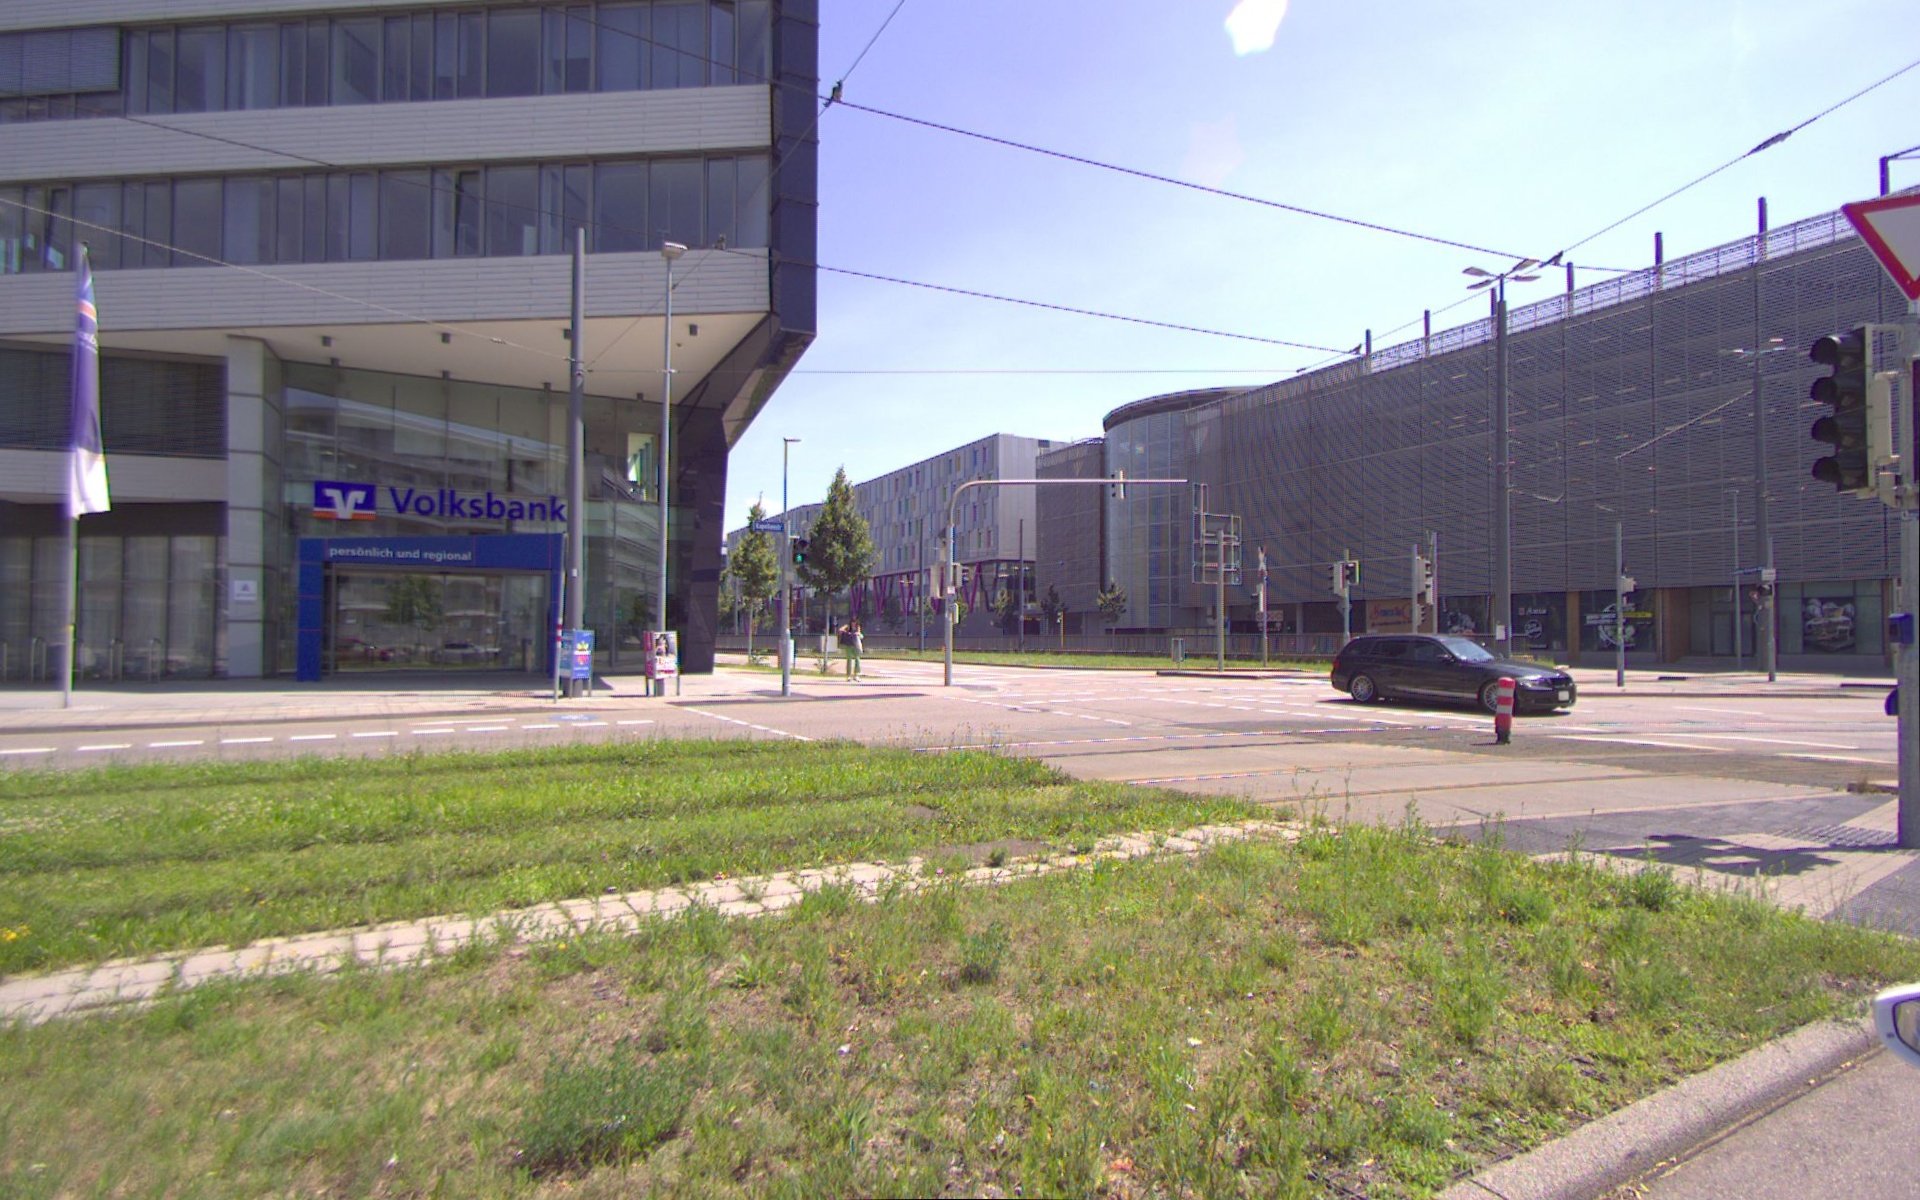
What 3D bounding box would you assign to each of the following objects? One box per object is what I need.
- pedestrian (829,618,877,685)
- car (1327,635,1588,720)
[{"bbox_3d":[-2.936,1.393,27.597,0.889,1.770,0.975,0,-1,31],"label":"pedestrian"},{"bbox_3d":[9.297,1.381,19.149,1.617,1.360,4.282,0,-1,-32],"label":"car"}]
